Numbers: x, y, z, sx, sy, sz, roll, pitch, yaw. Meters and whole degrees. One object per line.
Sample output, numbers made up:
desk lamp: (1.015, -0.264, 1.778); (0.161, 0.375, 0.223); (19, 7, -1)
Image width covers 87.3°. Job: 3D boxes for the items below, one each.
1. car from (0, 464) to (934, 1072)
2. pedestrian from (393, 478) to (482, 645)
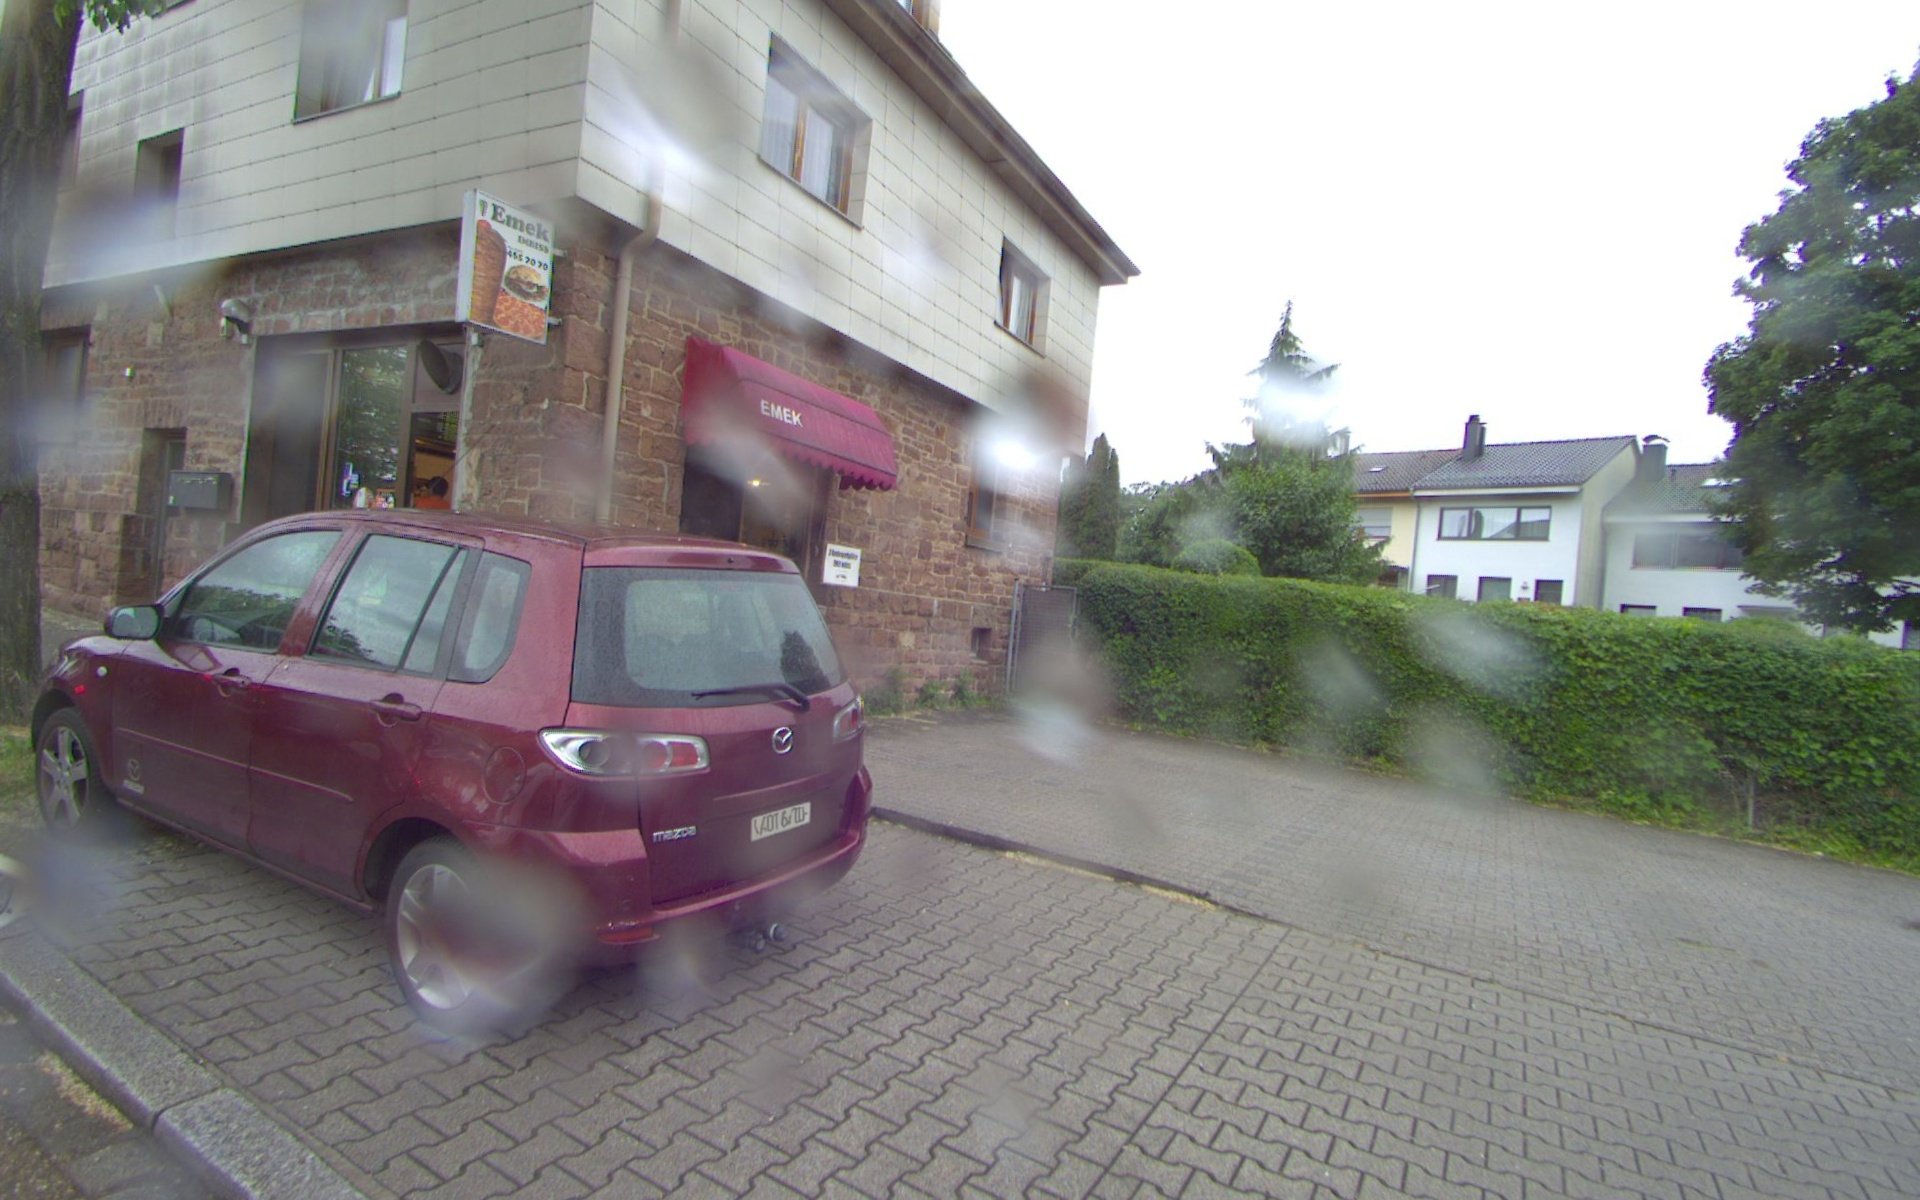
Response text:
car: (-2.163, 0.373, 4.132); (3.692, 1.521, 1.614); (5, -3, 29)
pedestrian: (-5.509, -0.395, 10.622); (0.447, 1.679, 0.493); (7, -1, 31)
